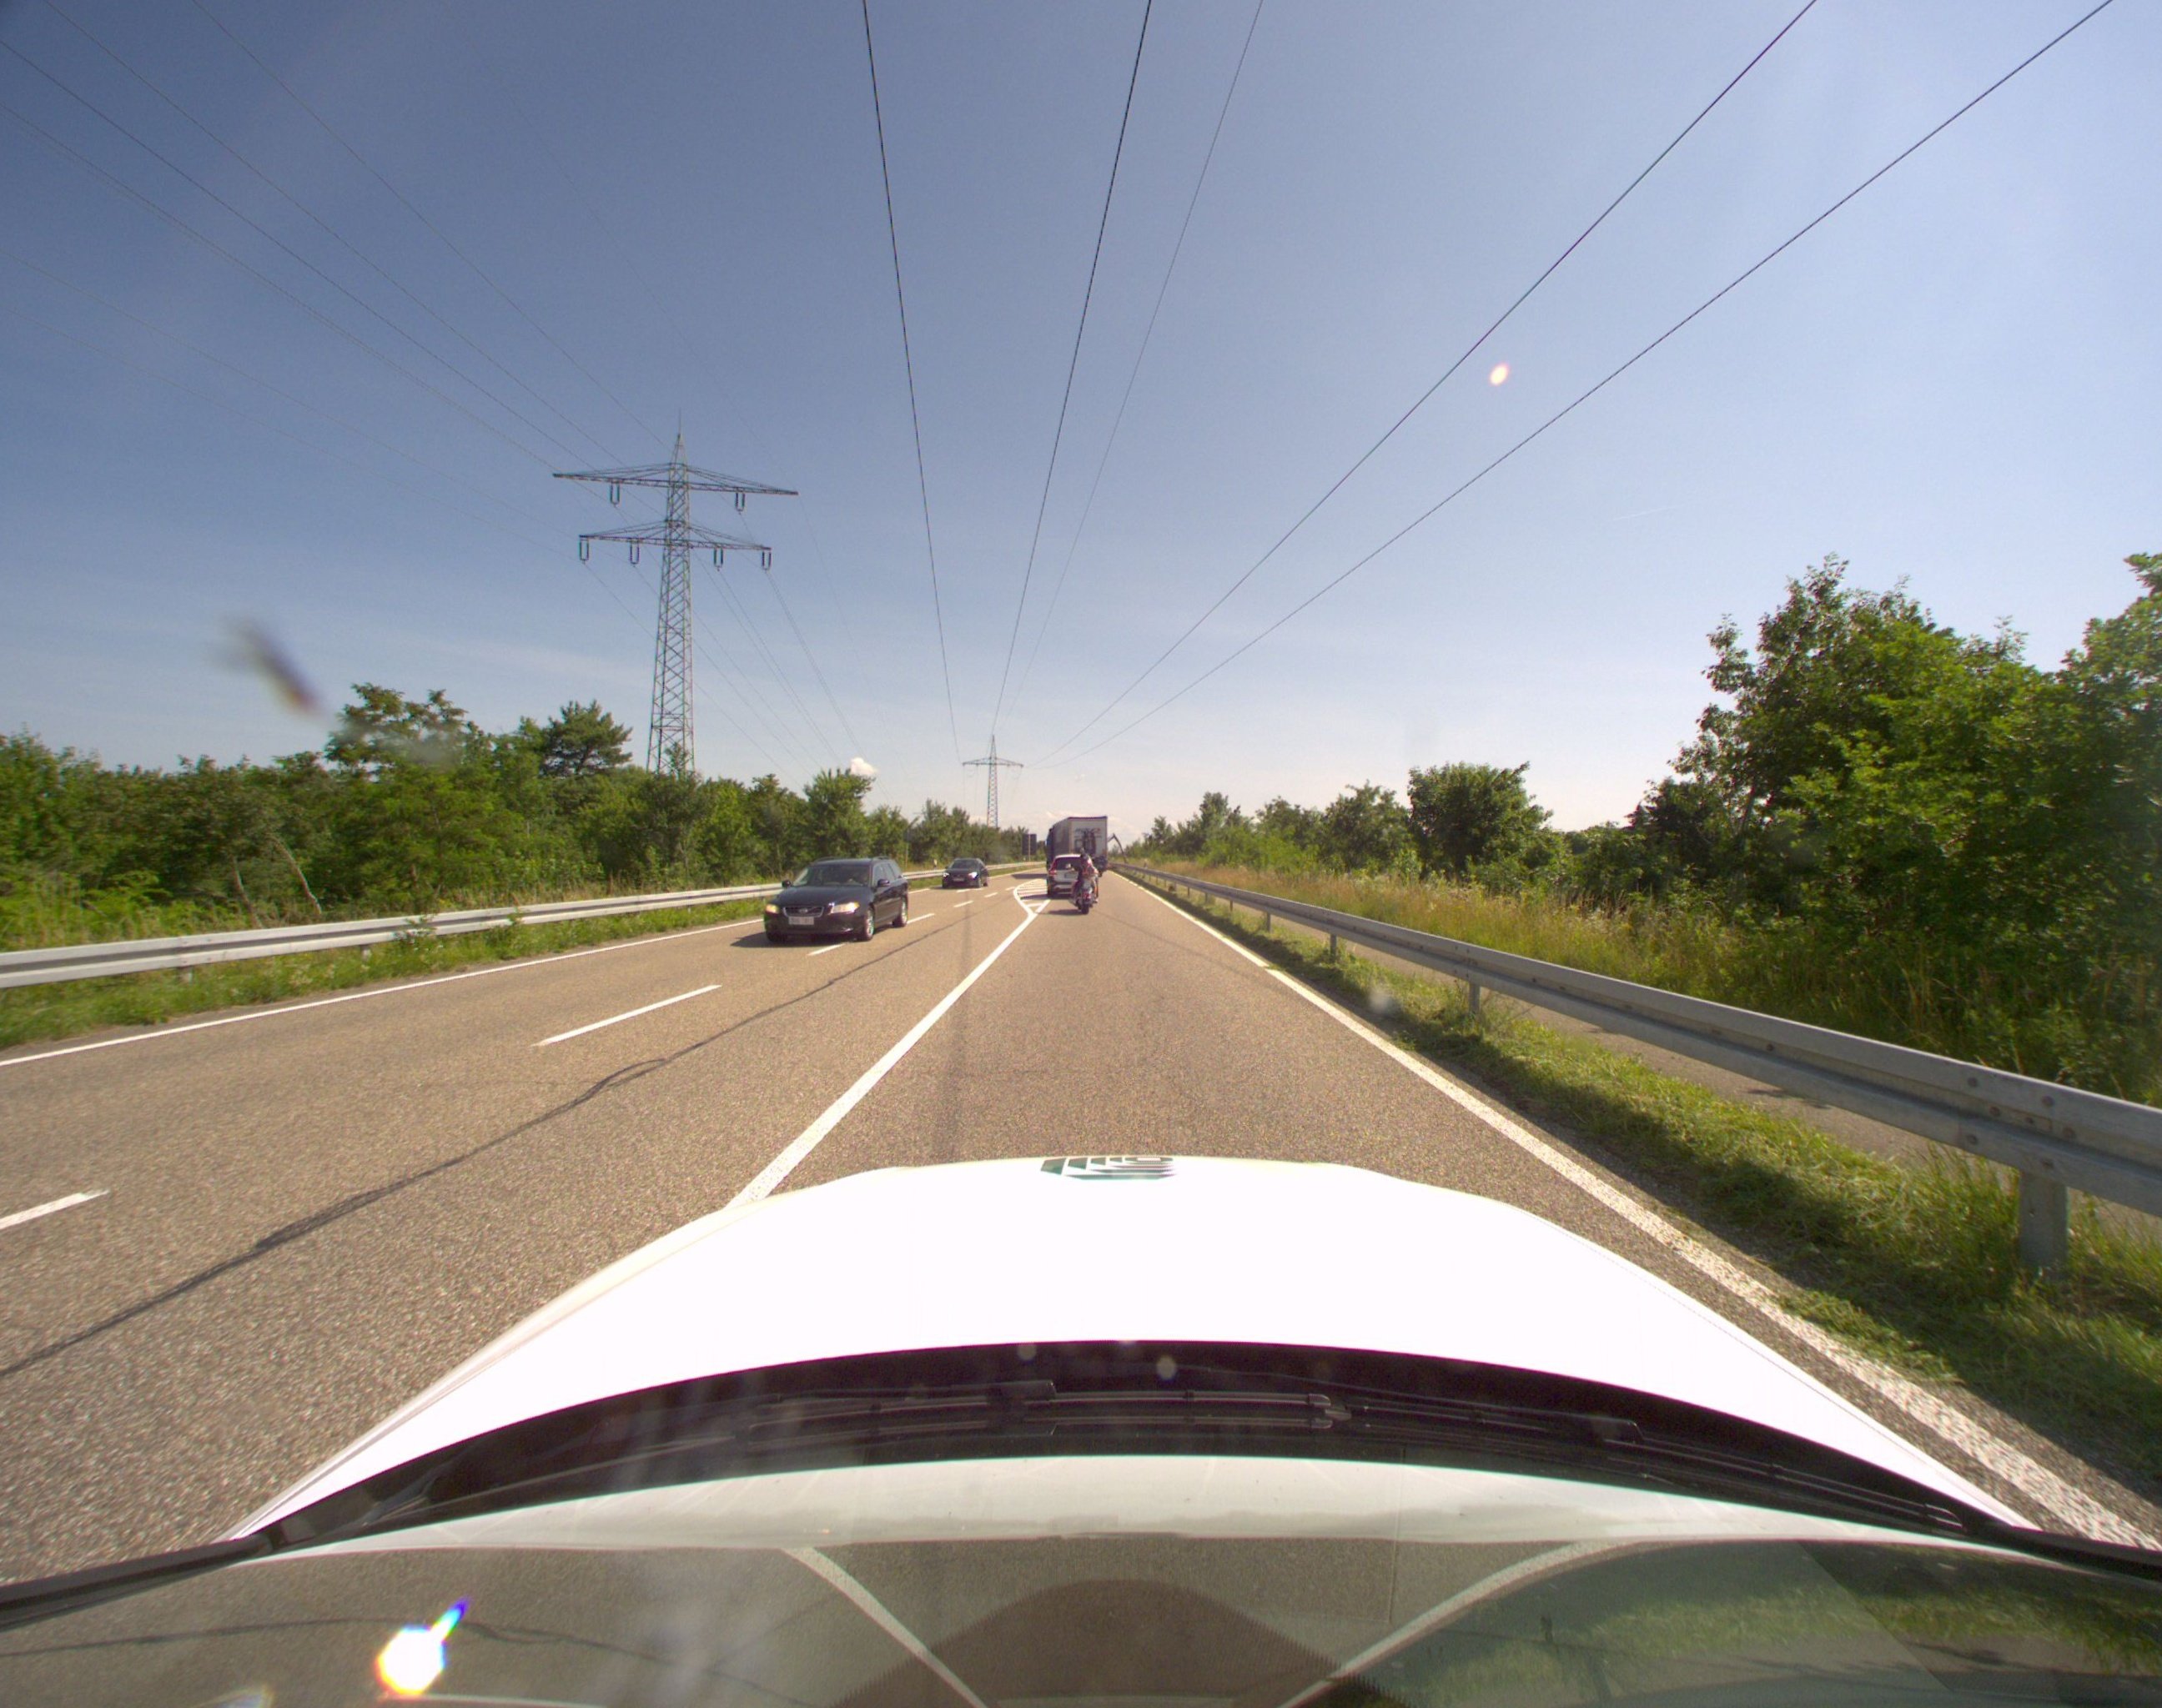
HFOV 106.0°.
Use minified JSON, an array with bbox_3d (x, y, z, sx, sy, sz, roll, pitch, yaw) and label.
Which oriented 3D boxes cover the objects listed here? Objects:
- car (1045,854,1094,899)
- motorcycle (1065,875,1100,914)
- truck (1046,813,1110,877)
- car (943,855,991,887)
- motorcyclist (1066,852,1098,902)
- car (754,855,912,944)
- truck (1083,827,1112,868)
[{"bbox_3d":[-0.376,0.763,29.792,1.695,1.536,3.499,0,0,1],"label":"car"},{"bbox_3d":[0.015,1.033,21.543,0.856,0.915,2.226,0,0,-1],"label":"motorcycle"},{"bbox_3d":[-0.500,-0.571,60.814,2.965,4.187,14.783,0,0,-7],"label":"truck"},{"bbox_3d":[-5.519,0.796,39.792,1.653,1.442,4.215,-1,0,1],"label":"car"},{"bbox_3d":[0.017,0.604,21.601,0.835,1.280,0.919,0,0,-2],"label":"motorcyclist"},{"bbox_3d":[-4.679,0.773,16.047,1.721,1.491,4.422,-1,0,0],"label":"car"},{"bbox_3d":[1.502,-0.571,77.495,2.606,3.711,6.775,0,0,0],"label":"truck"}]
